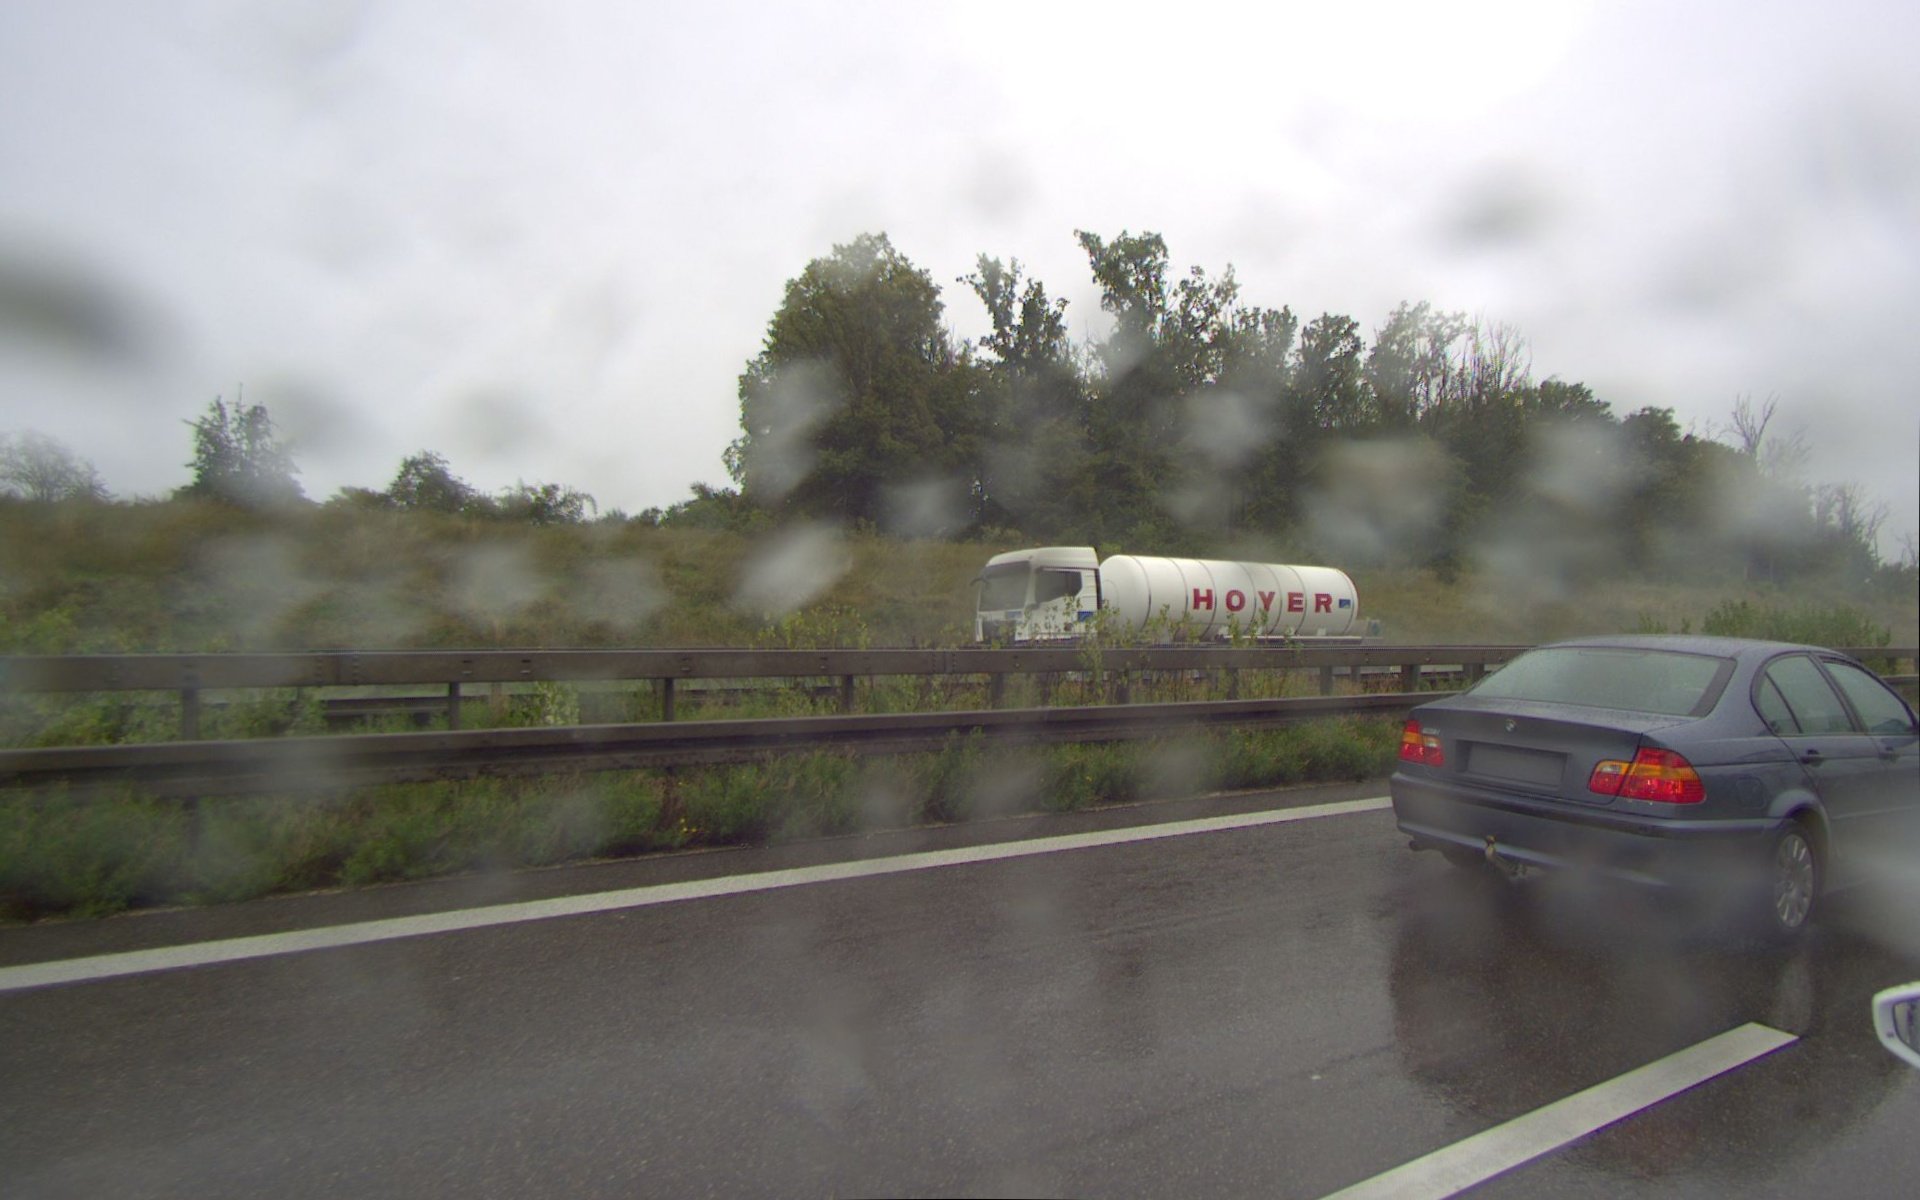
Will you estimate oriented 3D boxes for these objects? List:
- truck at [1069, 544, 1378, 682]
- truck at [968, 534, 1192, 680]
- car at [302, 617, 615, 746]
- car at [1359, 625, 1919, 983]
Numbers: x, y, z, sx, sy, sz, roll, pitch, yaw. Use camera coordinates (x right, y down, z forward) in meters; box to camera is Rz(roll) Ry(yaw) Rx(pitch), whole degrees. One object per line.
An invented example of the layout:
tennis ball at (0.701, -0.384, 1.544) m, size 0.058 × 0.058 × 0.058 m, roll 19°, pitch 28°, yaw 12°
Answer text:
truck at (7.522, 0.545, 27.927) m, size 9.240 × 3.341 × 2.543 m, roll 3°, pitch -3°, yaw -30°
truck at (3.045, 0.294, 25.245) m, size 5.140 × 3.323 × 2.529 m, roll 2°, pitch -3°, yaw -31°
car at (-6.702, 1.025, 13.621) m, size 3.590 × 1.528 × 1.666 m, roll 1°, pitch -2°, yaw -30°
car at (4.435, 0.898, 5.918) m, size 4.182 × 1.418 × 1.709 m, roll 2°, pitch -1°, yaw -31°
